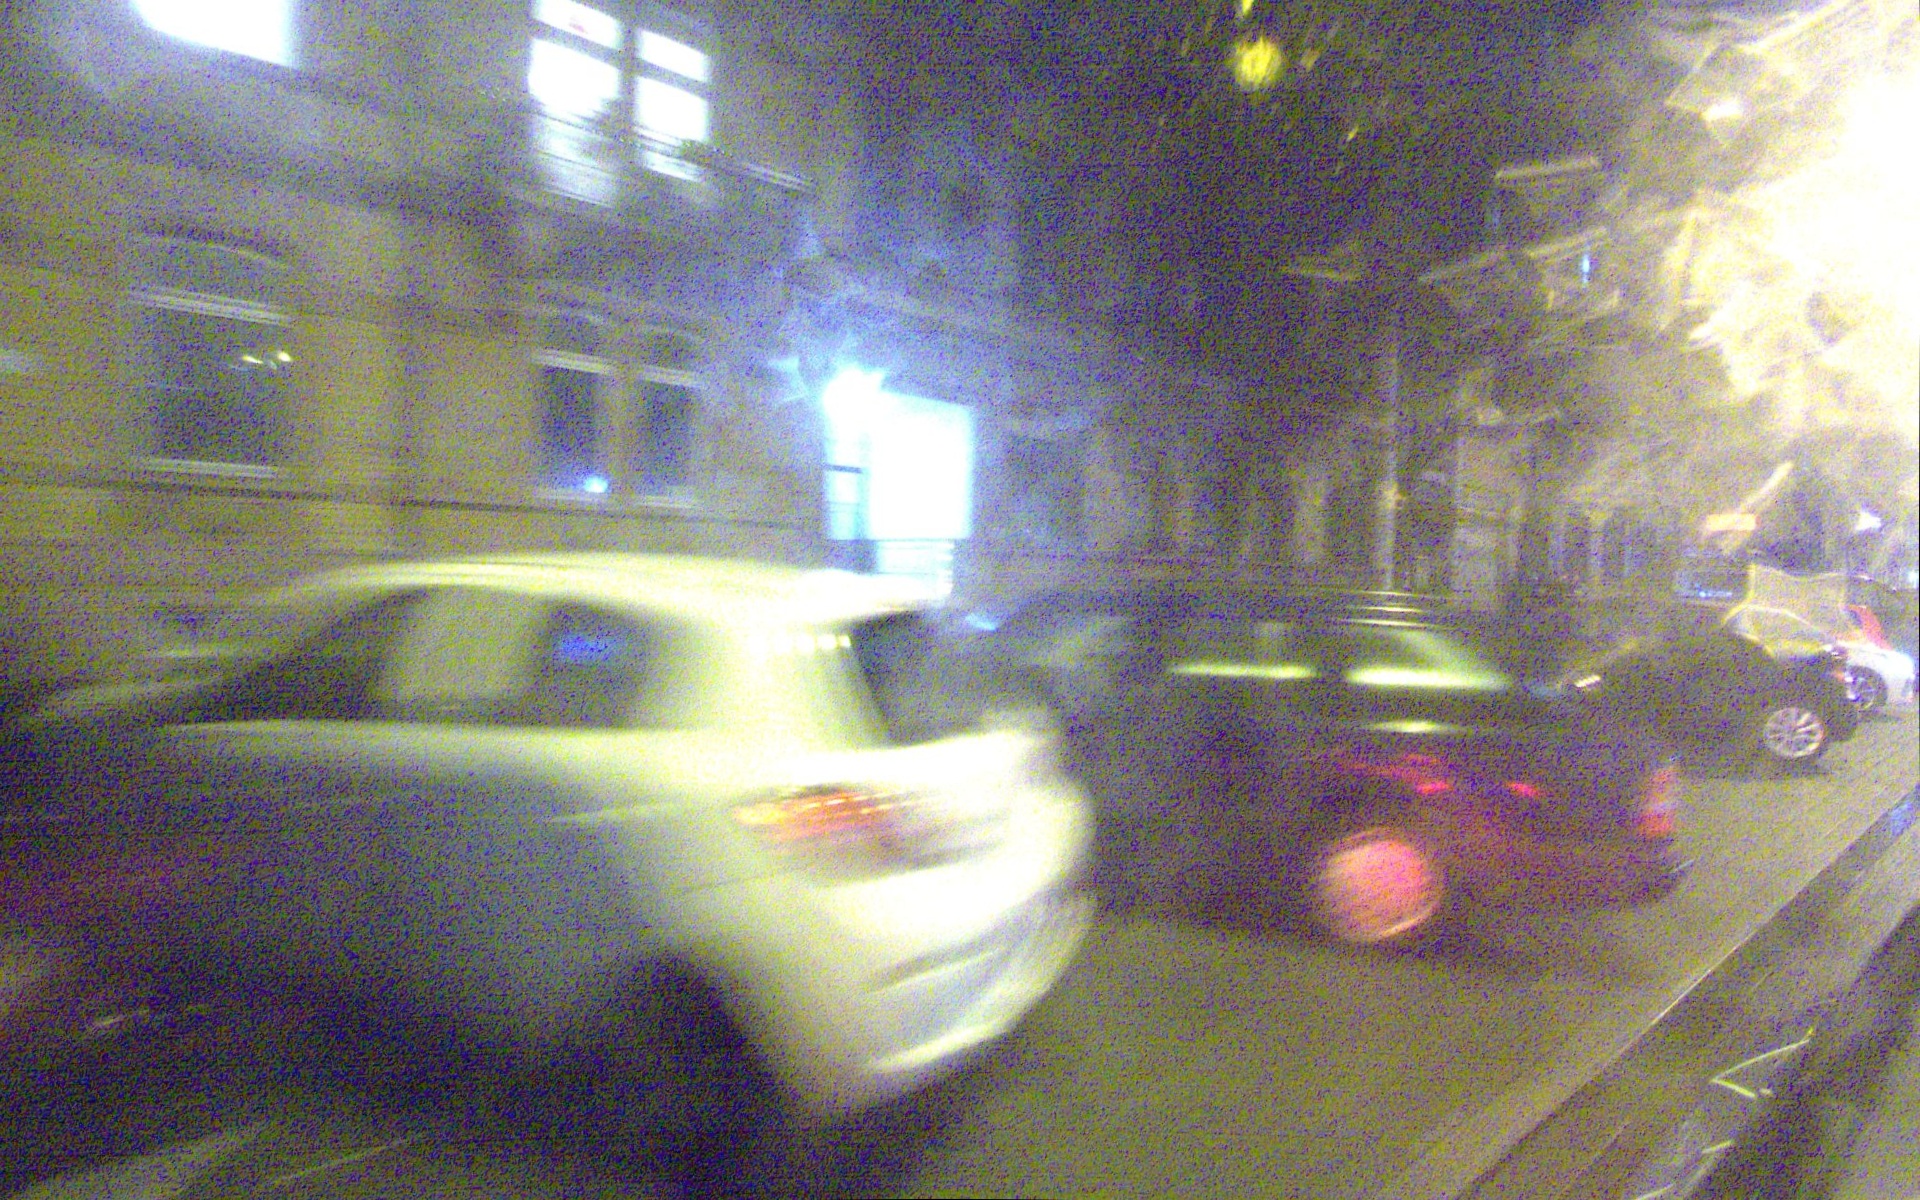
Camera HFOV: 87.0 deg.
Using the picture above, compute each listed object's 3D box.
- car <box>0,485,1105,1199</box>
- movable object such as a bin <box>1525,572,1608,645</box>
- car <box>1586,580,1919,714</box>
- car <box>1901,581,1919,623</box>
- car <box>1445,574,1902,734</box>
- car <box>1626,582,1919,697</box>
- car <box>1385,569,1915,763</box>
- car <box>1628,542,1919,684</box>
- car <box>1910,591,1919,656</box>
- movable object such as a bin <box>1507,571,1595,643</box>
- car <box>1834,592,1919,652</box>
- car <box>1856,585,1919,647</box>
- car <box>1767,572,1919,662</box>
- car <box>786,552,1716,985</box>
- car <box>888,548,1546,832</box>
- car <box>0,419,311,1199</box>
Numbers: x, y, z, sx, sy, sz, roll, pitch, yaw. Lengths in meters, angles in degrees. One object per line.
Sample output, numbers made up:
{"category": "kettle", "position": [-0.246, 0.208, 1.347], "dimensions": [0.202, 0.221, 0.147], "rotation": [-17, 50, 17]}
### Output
{"category": "car", "position": [-1.456, 0.521, 3.506], "dimensions": [3.611, 1.600, 1.581], "rotation": [1, 1, 22]}
{"category": "movable object such as a bin", "position": [13.379, 0.173, 22.338], "dimensions": [0.981, 1.468, 1.212], "rotation": [0, 5, -40]}
{"category": "car", "position": [10.888, 0.566, 13.862], "dimensions": [3.608, 1.561, 1.550], "rotation": [2, 2, 20]}
{"category": "car", "position": [56.506, 0.206, 56.732], "dimensions": [4.872, 2.370, 2.221], "rotation": [2, 1, 16]}
{"category": "car", "position": [8.247, 0.543, 12.153], "dimensions": [3.939, 1.571, 1.993], "rotation": [2, 2, 12]}
{"category": "car", "position": [12.779, 0.559, 15.996], "dimensions": [3.350, 1.561, 1.571], "rotation": [2, 2, 14]}
{"category": "car", "position": [6.568, 0.532, 10.178], "dimensions": [3.943, 1.571, 1.797], "rotation": [2, 2, 15]}
{"category": "car", "position": [14.892, 0.180, 17.879], "dimensions": [4.656, 2.275, 1.939], "rotation": [2, 2, 14]}
{"category": "car", "position": [27.396, 0.638, 26.149], "dimensions": [3.754, 1.750, 1.731], "rotation": [0, 0, 19]}
{"category": "movable object such as a bin", "position": [12.558, 0.127, 21.535], "dimensions": [0.981, 1.388, 1.259], "rotation": [0, 6, -40]}
{"category": "car", "position": [27.633, 0.617, 28.603], "dimensions": [4.012, 1.631, 1.832], "rotation": [1, 0, 21]}
{"category": "car", "position": [30.038, 0.541, 30.509], "dimensions": [4.060, 1.786, 1.845], "rotation": [3, 1, 23]}
{"category": "car", "position": [21.696, 0.412, 23.469], "dimensions": [4.186, 1.881, 1.710], "rotation": [3, 3, 15]}
{"category": "car", "position": [1.163, 0.571, 4.942], "dimensions": [3.631, 1.478, 1.597], "rotation": [2, 2, 15]}
{"category": "car", "position": [1.648, 0.461, 7.166], "dimensions": [3.945, 1.469, 1.680], "rotation": [3, 3, 17]}
{"category": "car", "position": [-3.122, 0.526, 1.457], "dimensions": [3.596, 1.600, 1.587], "rotation": [1, 1, 11]}
